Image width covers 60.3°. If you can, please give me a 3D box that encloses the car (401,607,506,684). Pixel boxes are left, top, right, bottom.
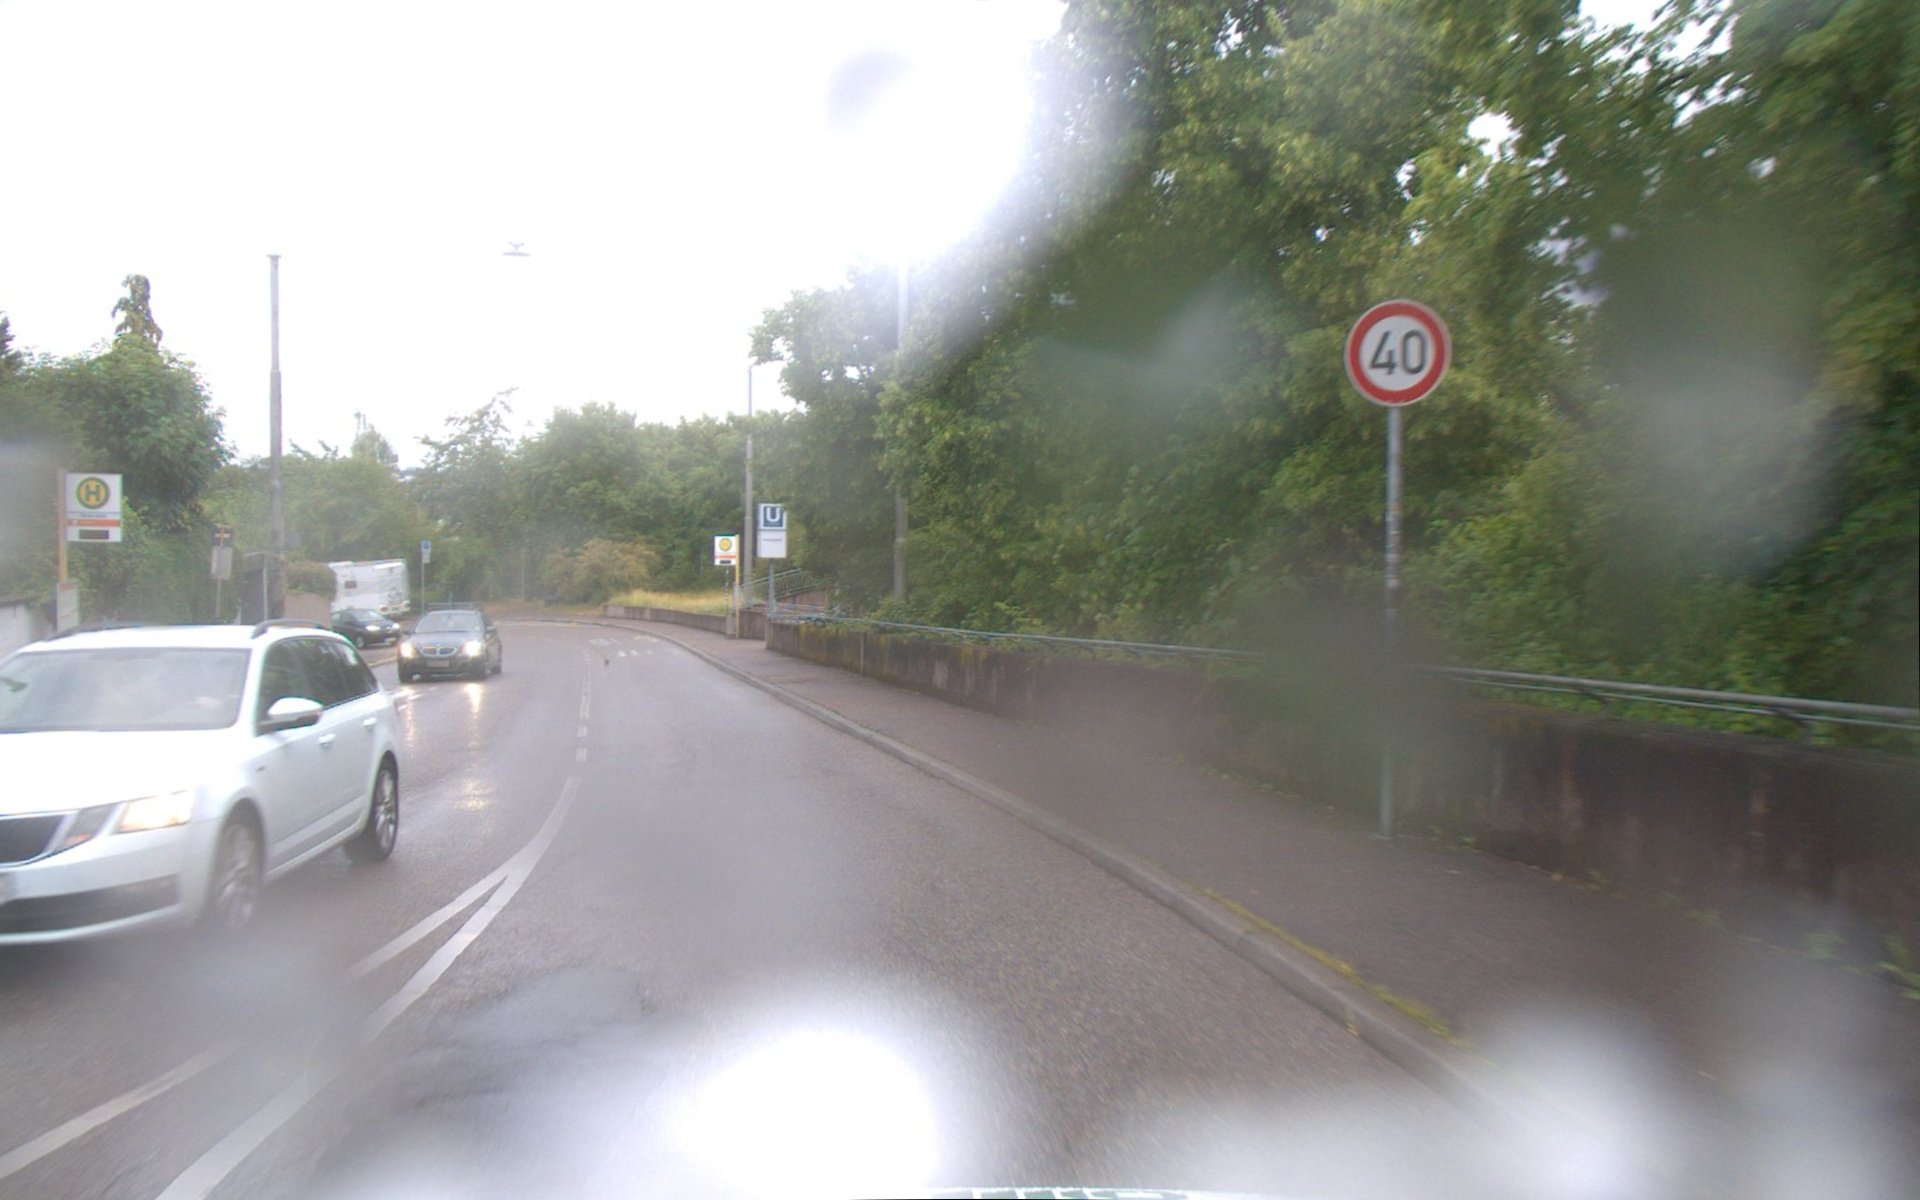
[{"bbox_3d":[-11.027,0.941,36.256,1.706,1.476,4.602,-2,0,-12],"label":"car"}]

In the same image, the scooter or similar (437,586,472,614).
[{"bbox_3d":[-25.423,0.000,83.131,1.668,1.304,0.452,-3,3,19],"label":"scooter or similar"}]

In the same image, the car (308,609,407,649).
[{"bbox_3d":[-24.887,1.202,68.266,3.890,1.547,1.769,-1,1,31],"label":"car"}]

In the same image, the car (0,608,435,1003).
[{"bbox_3d":[-4.171,0.838,8.656,1.812,1.500,4.435,-2,0,-6],"label":"car"}]

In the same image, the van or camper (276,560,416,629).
[{"bbox_3d":[-30.519,-0.278,82.268,6.129,2.993,2.401,-2,6,18],"label":"van or camper"}]

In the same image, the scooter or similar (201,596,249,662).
[{"bbox_3d":[-14.260,0.546,32.112,0.513,1.224,1.431,-3,1,-12],"label":"scooter or similar"}]
